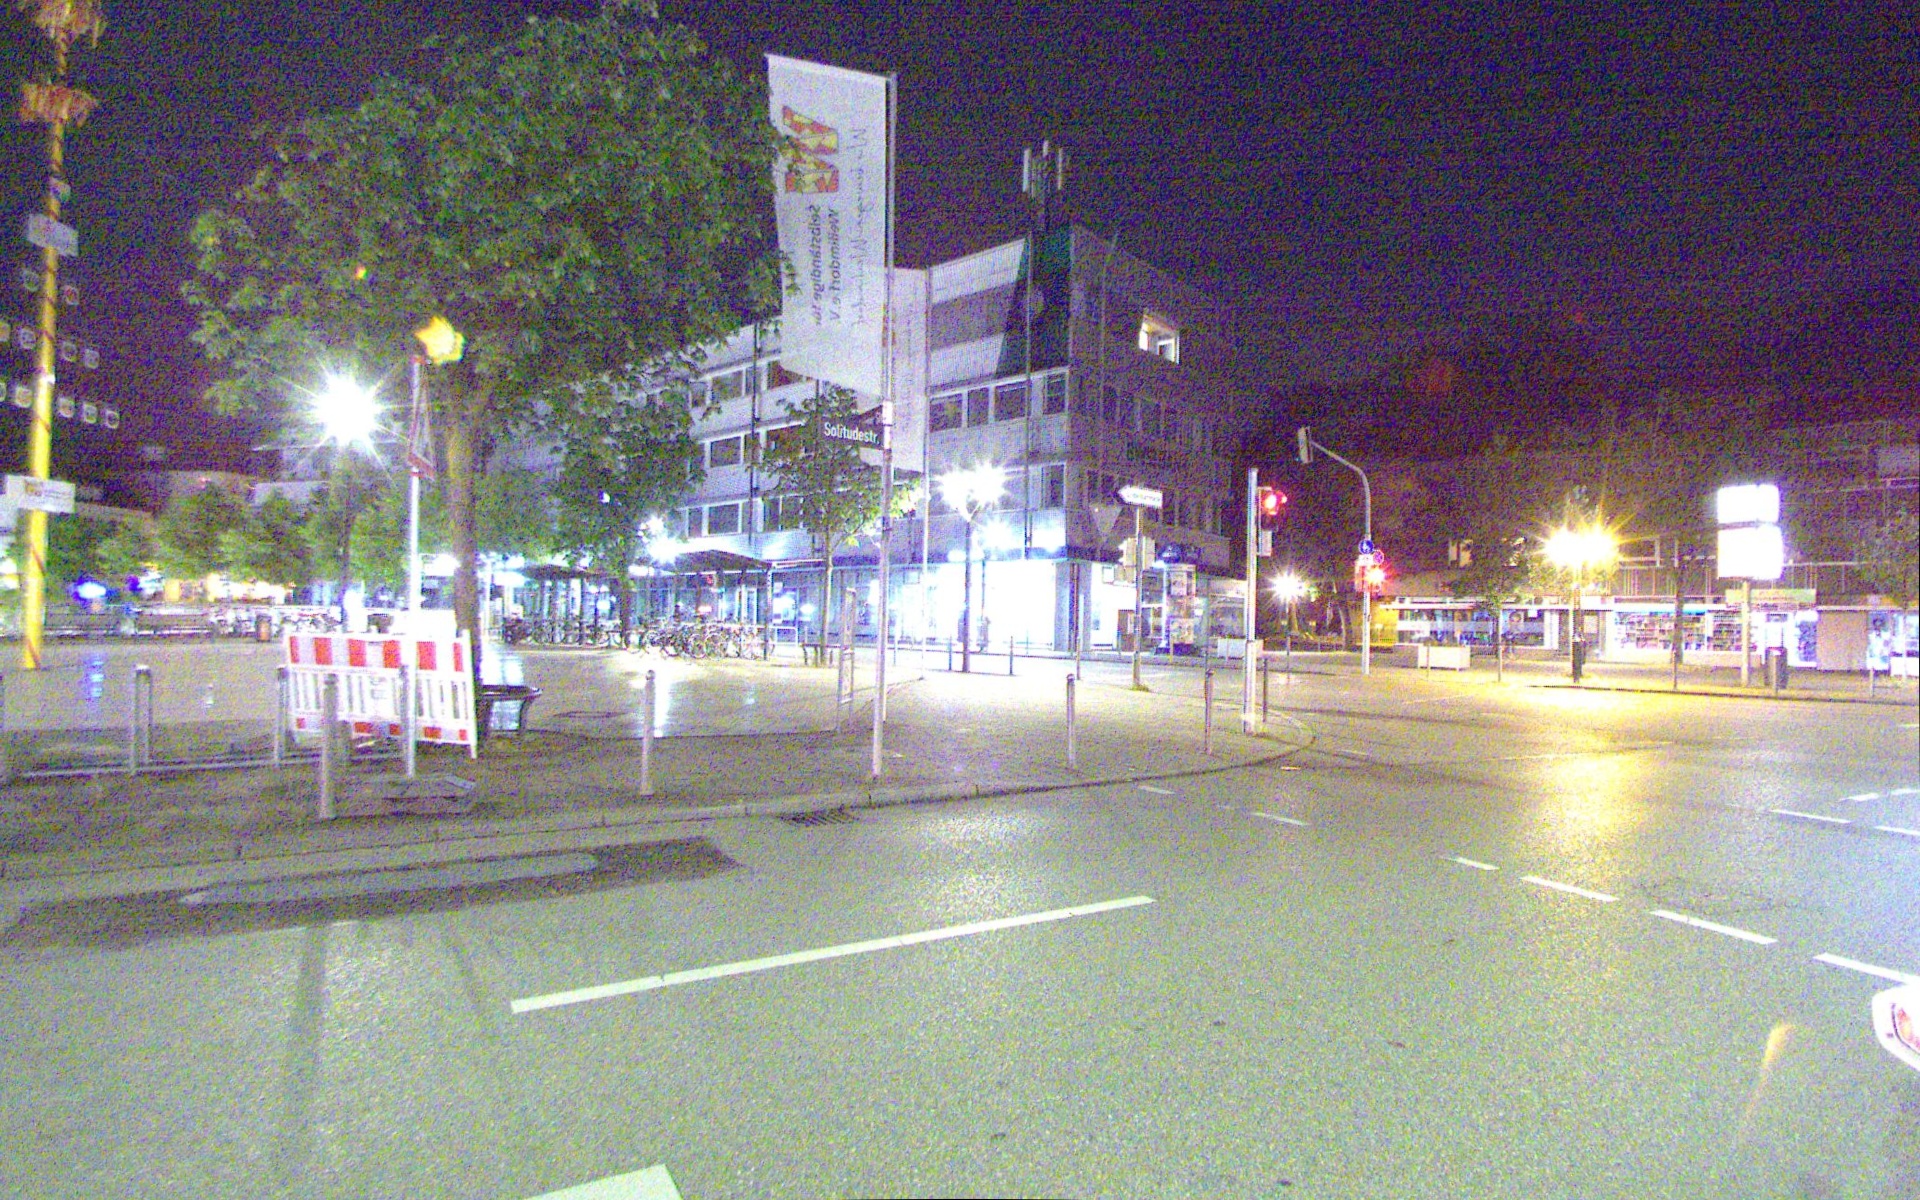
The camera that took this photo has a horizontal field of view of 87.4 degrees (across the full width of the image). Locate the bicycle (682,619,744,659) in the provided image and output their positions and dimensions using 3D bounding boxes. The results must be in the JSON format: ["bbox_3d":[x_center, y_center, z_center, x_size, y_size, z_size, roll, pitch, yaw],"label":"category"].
[{"bbox_3d":[-6.280,0.983,25.580,0.440,0.970,1.525,2,0,43],"label":"bicycle"}]

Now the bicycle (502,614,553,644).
[{"bbox_3d":[-14.816,0.993,34.407,0.473,0.970,1.525,2,0,44],"label":"bicycle"}]

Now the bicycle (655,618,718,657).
[{"bbox_3d":[-7.106,0.966,26.146,0.473,0.970,1.525,2,0,44],"label":"bicycle"}]

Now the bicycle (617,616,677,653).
[{"bbox_3d":[-8.529,0.939,27.427,0.473,0.970,1.525,2,0,44],"label":"bicycle"}]

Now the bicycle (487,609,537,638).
[{"bbox_3d":[-15.549,0.833,34.887,0.473,0.970,1.525,2,0,44],"label":"bicycle"}]

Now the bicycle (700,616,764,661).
[{"bbox_3d":[-5.649,0.946,24.929,0.440,1.068,1.525,2,0,43],"label":"bicycle"}]

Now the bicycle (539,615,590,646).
[{"bbox_3d":[-13.058,1.001,33.187,0.473,0.970,1.525,2,0,44],"label":"bicycle"}]

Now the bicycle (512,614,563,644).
[{"bbox_3d":[-14.183,0.984,33.742,0.473,0.970,1.525,2,0,44],"label":"bicycle"}]

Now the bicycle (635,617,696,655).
[{"bbox_3d":[-7.849,0.957,26.827,0.473,0.970,1.525,2,0,44],"label":"bicycle"}]

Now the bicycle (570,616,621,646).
[{"bbox_3d":[-11.987,1.012,33.085,0.473,0.970,1.525,2,0,44],"label":"bicycle"}]
